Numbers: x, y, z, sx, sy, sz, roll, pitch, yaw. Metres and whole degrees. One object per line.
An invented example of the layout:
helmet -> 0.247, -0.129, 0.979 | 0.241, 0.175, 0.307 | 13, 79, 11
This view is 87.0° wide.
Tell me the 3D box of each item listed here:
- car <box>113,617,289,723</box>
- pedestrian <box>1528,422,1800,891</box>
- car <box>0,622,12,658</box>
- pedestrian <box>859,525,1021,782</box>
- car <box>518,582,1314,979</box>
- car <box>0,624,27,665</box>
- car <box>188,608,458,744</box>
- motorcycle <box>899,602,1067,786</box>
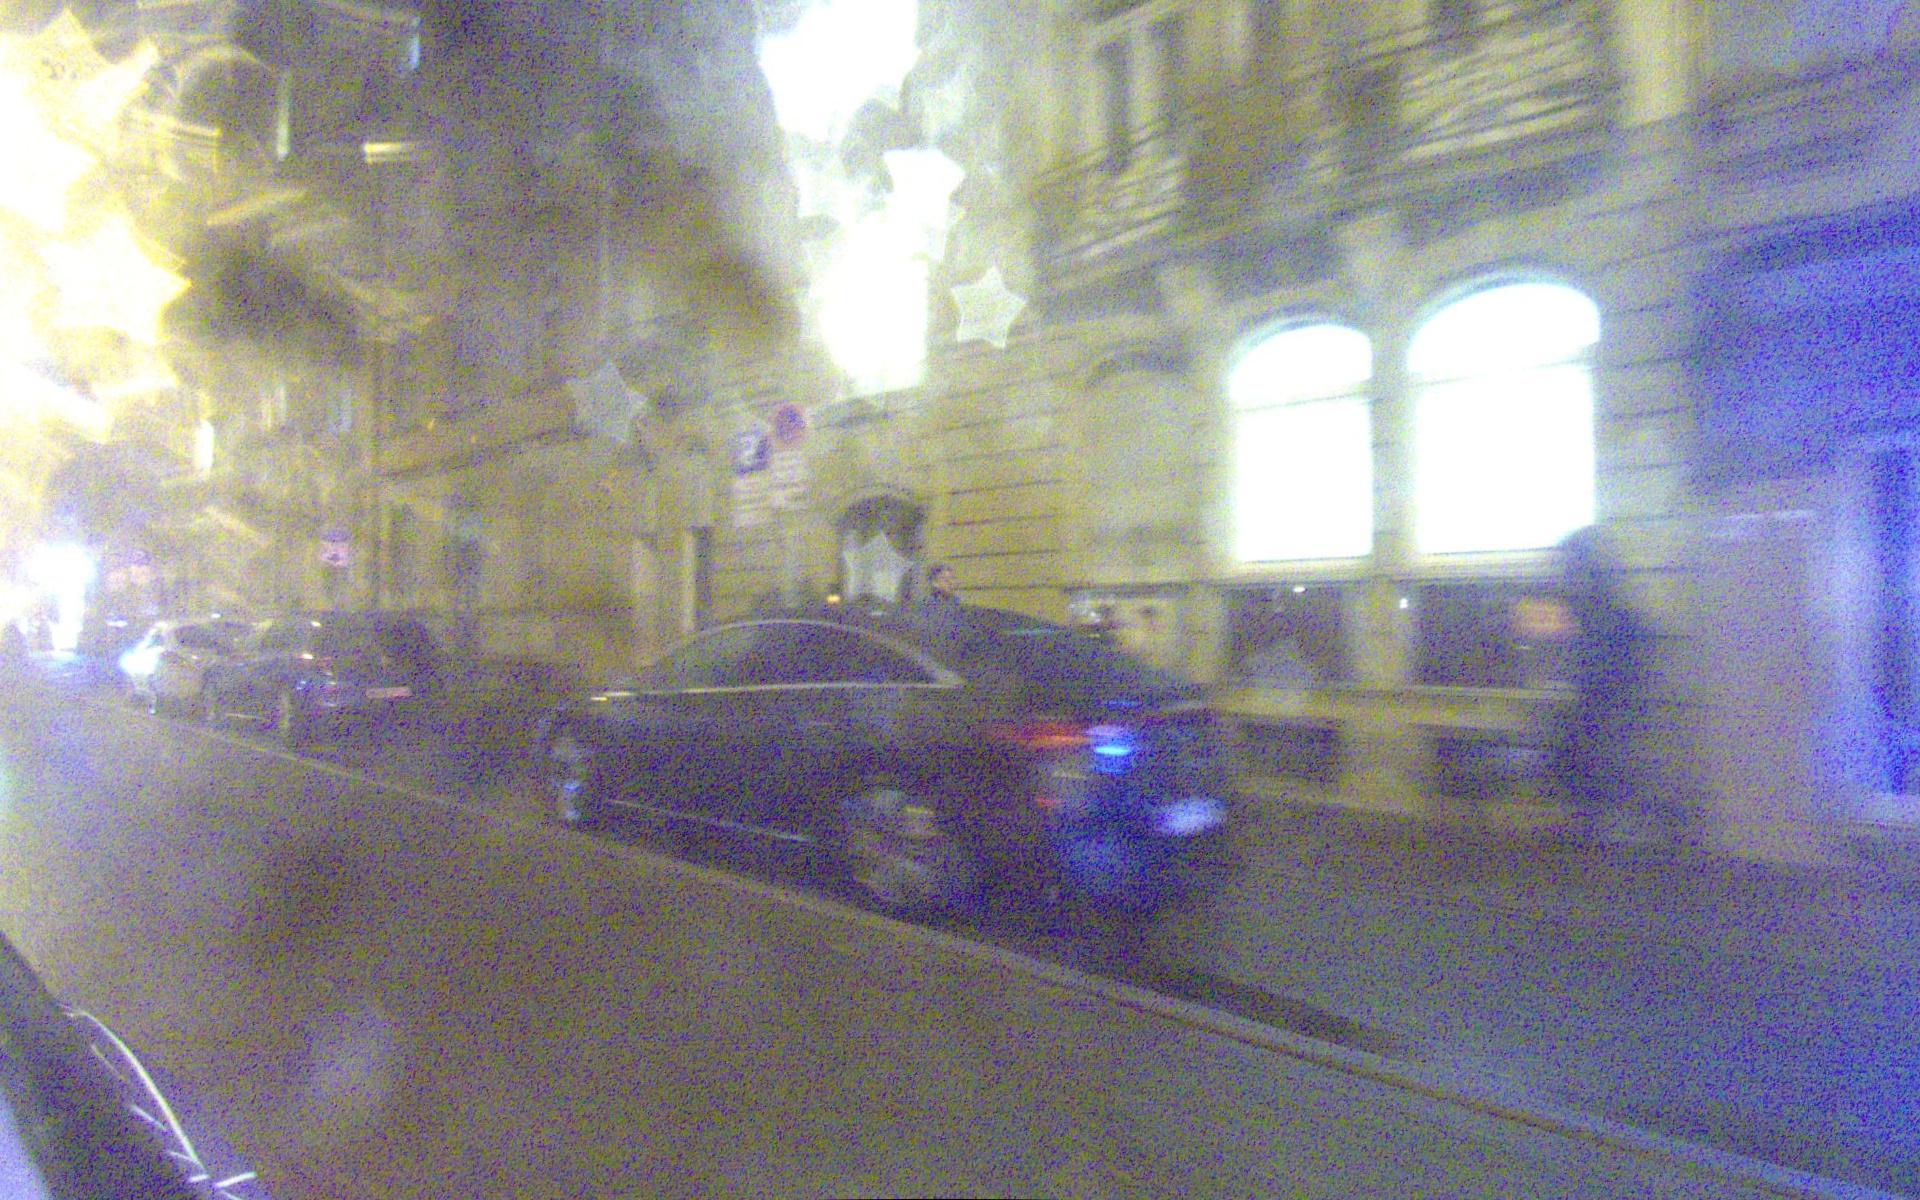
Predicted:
car -> -12.471, 1.061, 16.545 | 3.786, 1.489, 1.697 | -2, -1, 44
pedestrian -> 3.843, 0.282, 5.542 | 1.116, 2.258, 0.791 | -2, -2, 40
car -> -41.233, 1.684, 42.435 | 3.733, 1.489, 1.828 | -1, -1, 41
pedestrian -> -0.166, 0.392, 7.896 | 1.078, 1.846, 0.667 | -2, -1, 43
car -> -0.666, 0.731, 6.184 | 5.029, 1.490, 1.827 | -1, -1, 42
car -> -37.098, 1.697, 38.632 | 3.733, 1.489, 1.828 | -1, -1, 41
car -> -8.337, 0.880, 13.114 | 4.154, 1.490, 1.699 | -1, -1, 39
motorcycle -> 0.176, 0.774, 8.878 | 1.457, 1.482, 0.531 | -1, -1, 41
